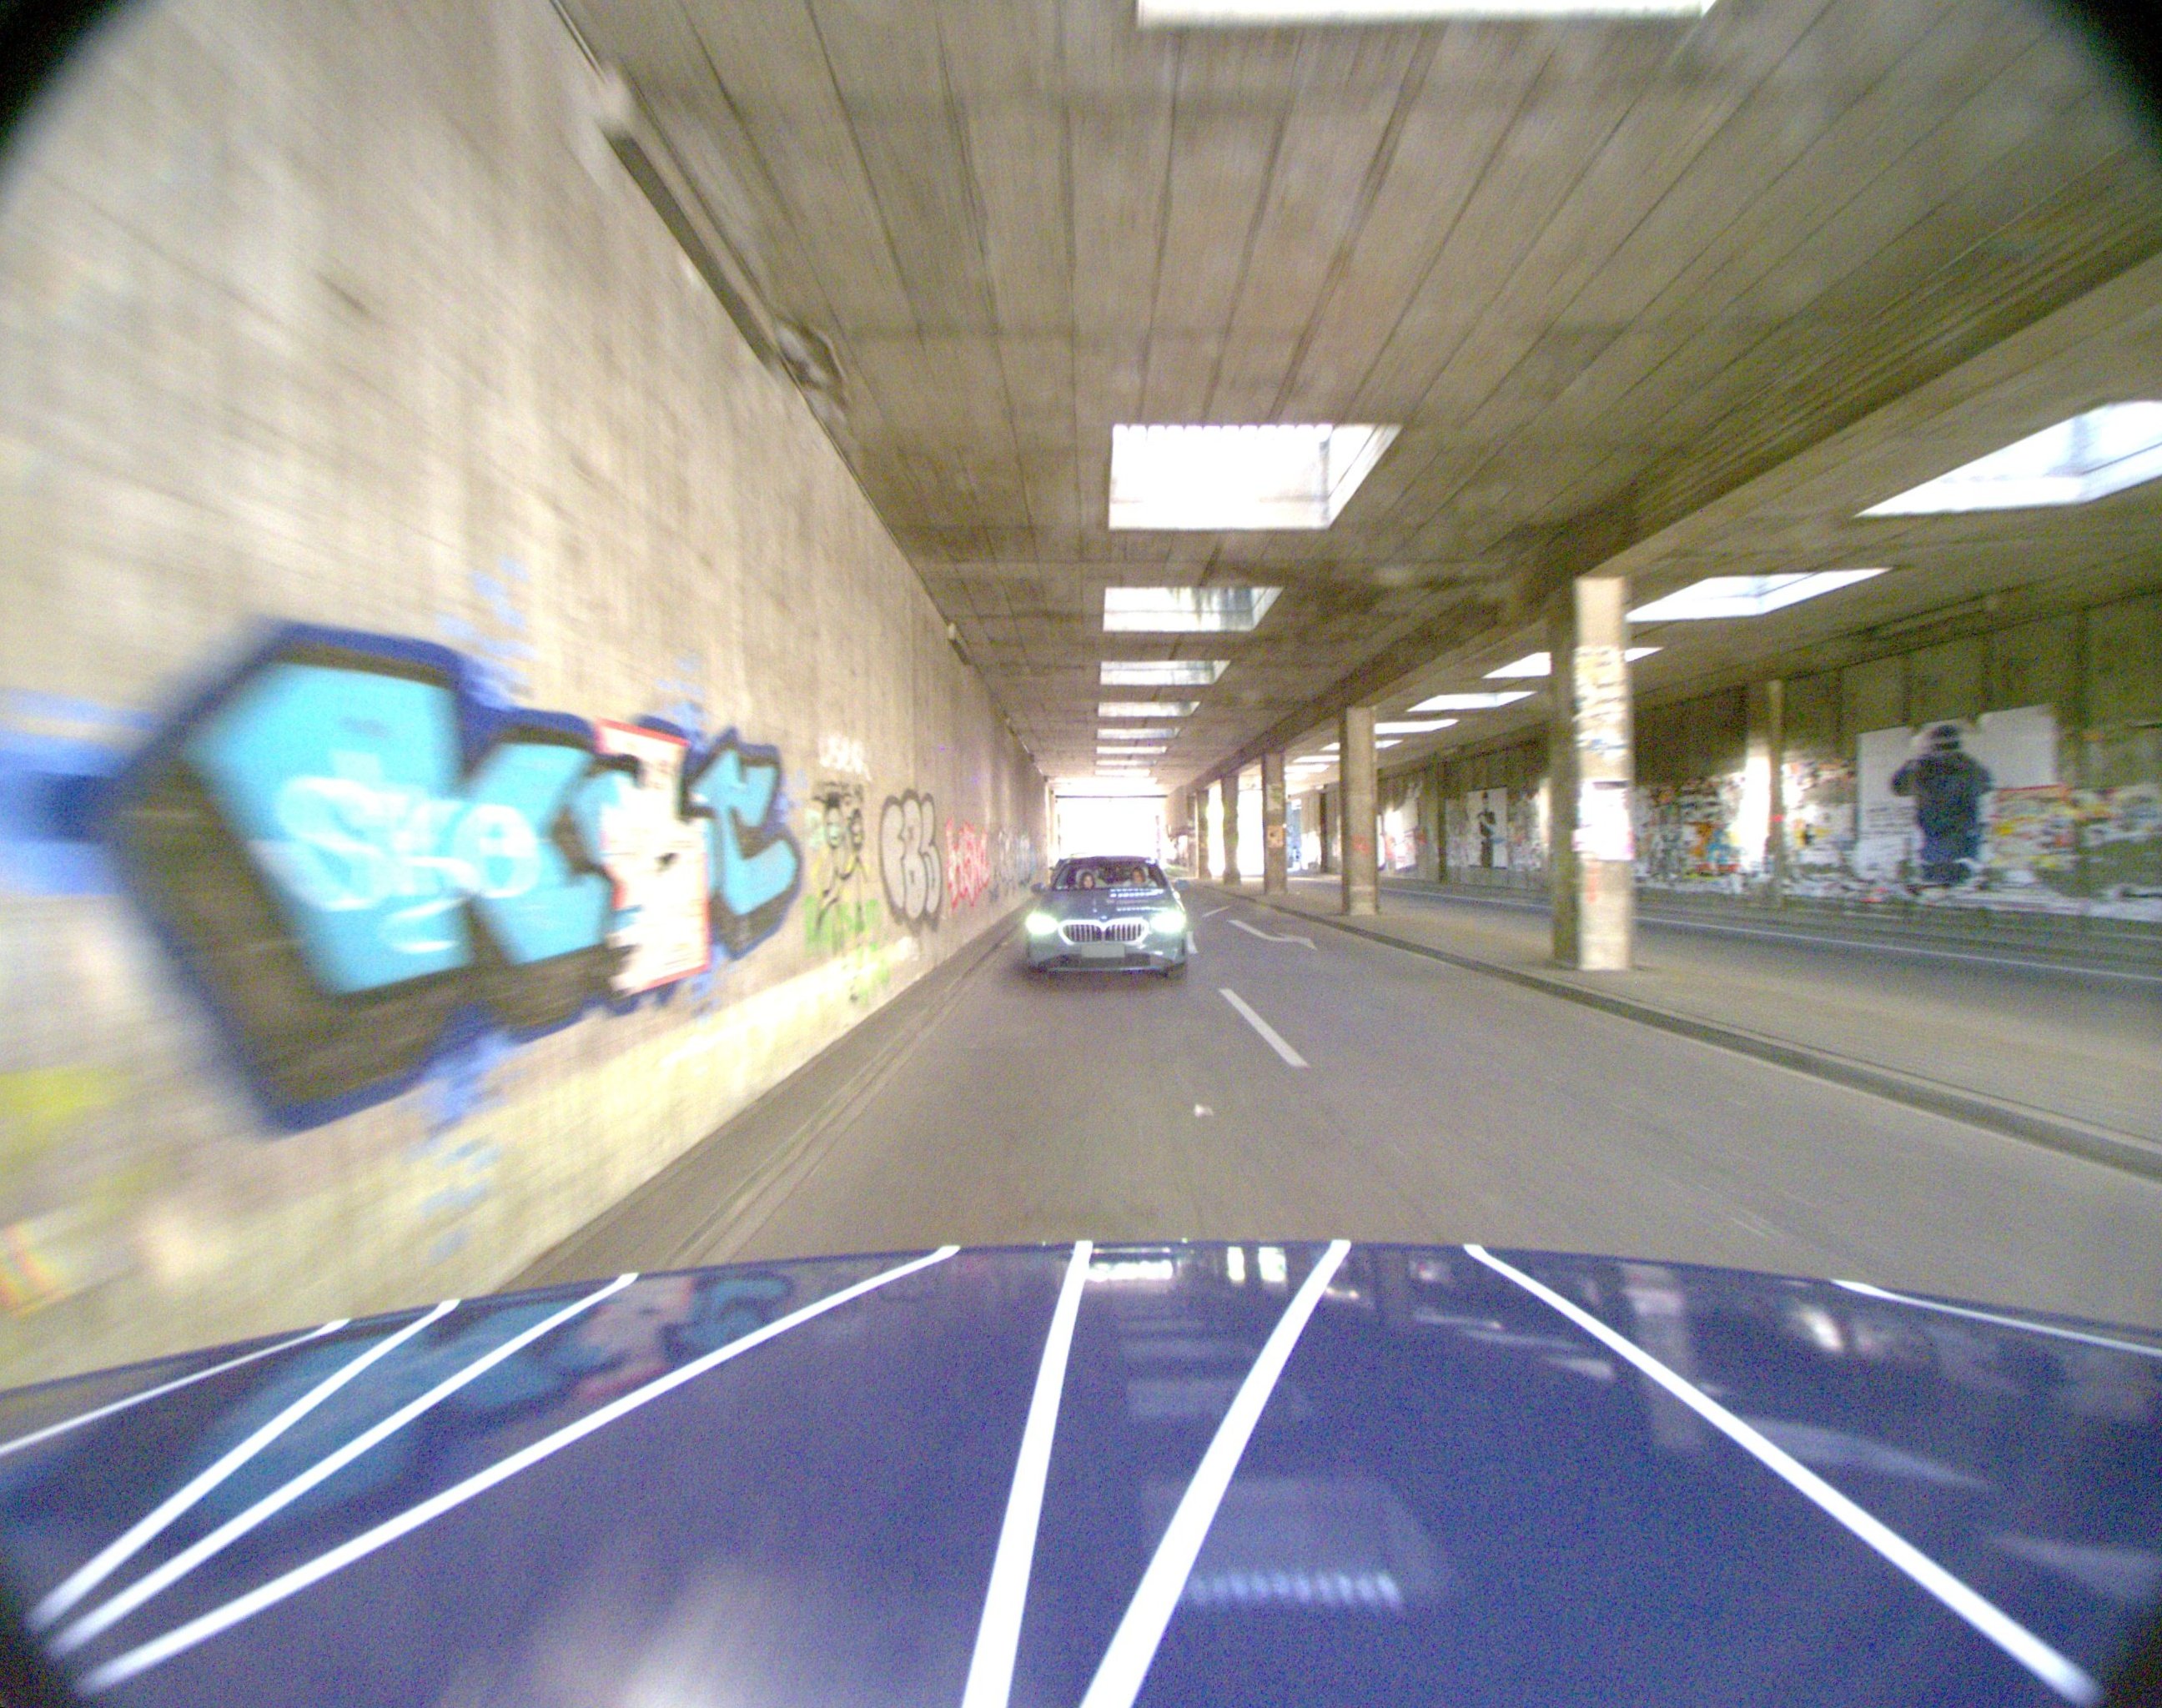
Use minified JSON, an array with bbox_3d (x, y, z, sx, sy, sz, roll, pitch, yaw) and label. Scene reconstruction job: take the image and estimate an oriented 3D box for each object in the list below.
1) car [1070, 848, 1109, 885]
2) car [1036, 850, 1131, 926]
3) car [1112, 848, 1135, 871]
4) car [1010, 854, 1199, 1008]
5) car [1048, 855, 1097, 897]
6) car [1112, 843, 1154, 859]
[{"bbox_3d":[0.425,0.513,34.490,1.616,1.546,4.013,-1,1,2],"label":"car"},{"bbox_3d":[0.132,0.712,18.068,1.957,1.546,4.247,-1,1,2],"label":"car"},{"bbox_3d":[3.140,0.375,56.376,1.616,1.546,4.013,-1,1,2],"label":"car"},{"bbox_3d":[0.331,0.813,10.527,1.957,1.546,5.040,-1,1,2],"label":"car"},{"bbox_3d":[-0.241,0.778,28.258,1.616,1.367,4.199,-1,1,2],"label":"car"},{"bbox_3d":[5.252,-0.324,77.160,3.998,1.386,1.833,-2,1,-3],"label":"car"}]
